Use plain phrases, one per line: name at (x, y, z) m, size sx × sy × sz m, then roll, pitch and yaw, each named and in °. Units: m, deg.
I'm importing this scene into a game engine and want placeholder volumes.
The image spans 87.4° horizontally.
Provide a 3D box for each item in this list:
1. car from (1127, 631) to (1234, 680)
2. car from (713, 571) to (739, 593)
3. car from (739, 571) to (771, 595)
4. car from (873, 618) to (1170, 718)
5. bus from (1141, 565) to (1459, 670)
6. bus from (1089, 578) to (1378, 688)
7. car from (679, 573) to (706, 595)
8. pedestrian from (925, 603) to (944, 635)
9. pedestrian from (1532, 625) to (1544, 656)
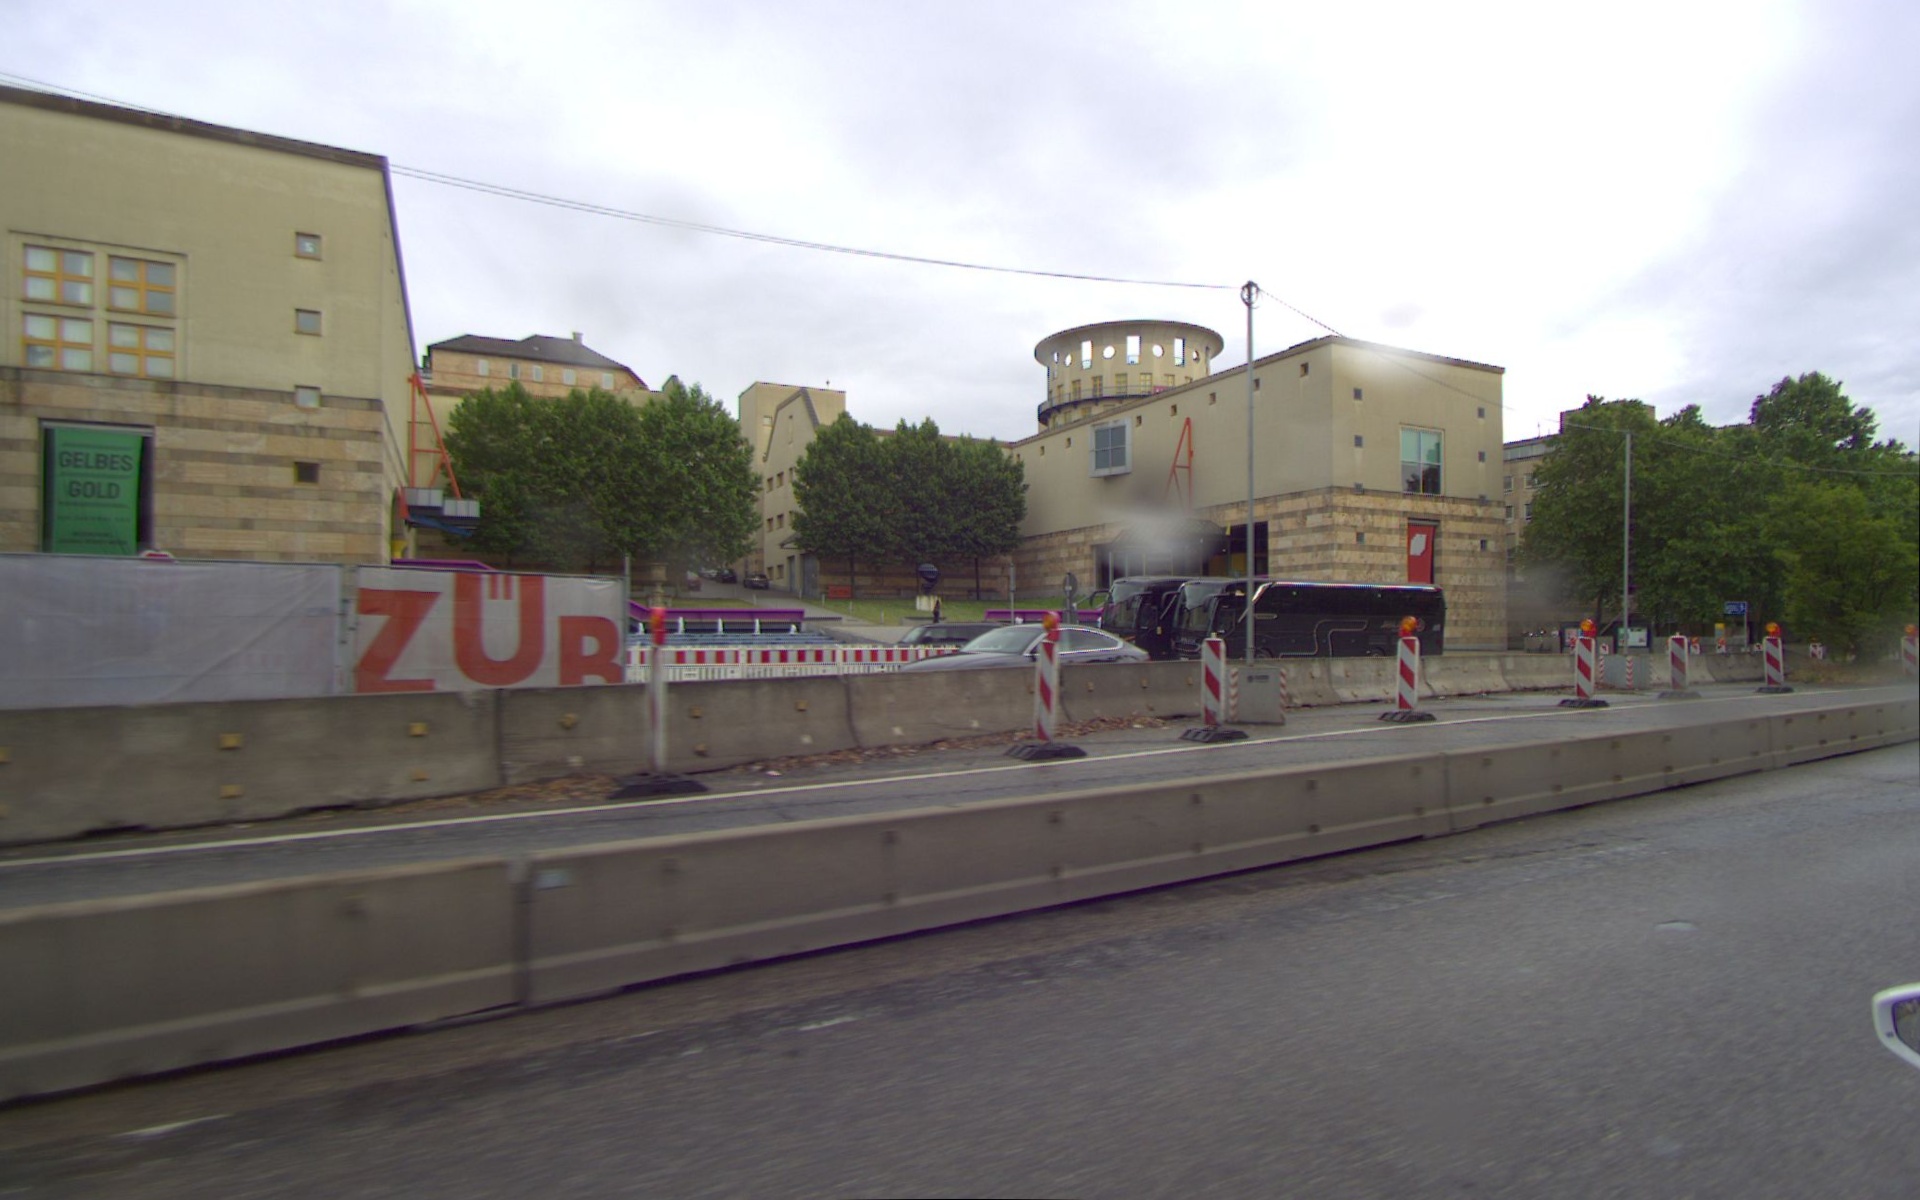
car at (7.191, 1.828, 32.775) m, size 3.178 × 1.519 × 1.584 m, roll 2°, pitch -4°, yaw -31°
car at (-26.027, -1.965, 111.781) m, size 1.973 × 2.040 × 3.976 m, roll 2°, pitch -4°, yaw -26°
car at (-20.359, -1.660, 99.741) m, size 1.976 × 2.040 × 3.970 m, roll 2°, pitch -4°, yaw -29°
car at (1.085, 0.934, 15.471) m, size 4.731 × 1.279 × 1.758 m, roll 1°, pitch 0°, yaw -42°
bus at (14.229, 0.737, 41.184) m, size 14.397 × 3.862 × 2.796 m, roll 1°, pitch 0°, yaw -25°
bus at (12.151, 1.395, 43.870) m, size 13.311 × 4.309 × 3.109 m, roll 1°, pitch 0°, yaw -25°
car at (-25.704, -1.534, 96.526) m, size 1.680 × 1.817 × 3.935 m, roll 2°, pitch -4°, yaw -28°
pedestrian at (-1.440, 1.060, 56.398) m, size 0.935 × 1.738 × 0.684 m, roll 1°, pitch -1°, yaw 12°
pedestrian at (38.652, 2.712, 67.162) m, size 0.505 × 2.040 × 0.476 m, roll 2°, pitch -3°, yaw -28°
